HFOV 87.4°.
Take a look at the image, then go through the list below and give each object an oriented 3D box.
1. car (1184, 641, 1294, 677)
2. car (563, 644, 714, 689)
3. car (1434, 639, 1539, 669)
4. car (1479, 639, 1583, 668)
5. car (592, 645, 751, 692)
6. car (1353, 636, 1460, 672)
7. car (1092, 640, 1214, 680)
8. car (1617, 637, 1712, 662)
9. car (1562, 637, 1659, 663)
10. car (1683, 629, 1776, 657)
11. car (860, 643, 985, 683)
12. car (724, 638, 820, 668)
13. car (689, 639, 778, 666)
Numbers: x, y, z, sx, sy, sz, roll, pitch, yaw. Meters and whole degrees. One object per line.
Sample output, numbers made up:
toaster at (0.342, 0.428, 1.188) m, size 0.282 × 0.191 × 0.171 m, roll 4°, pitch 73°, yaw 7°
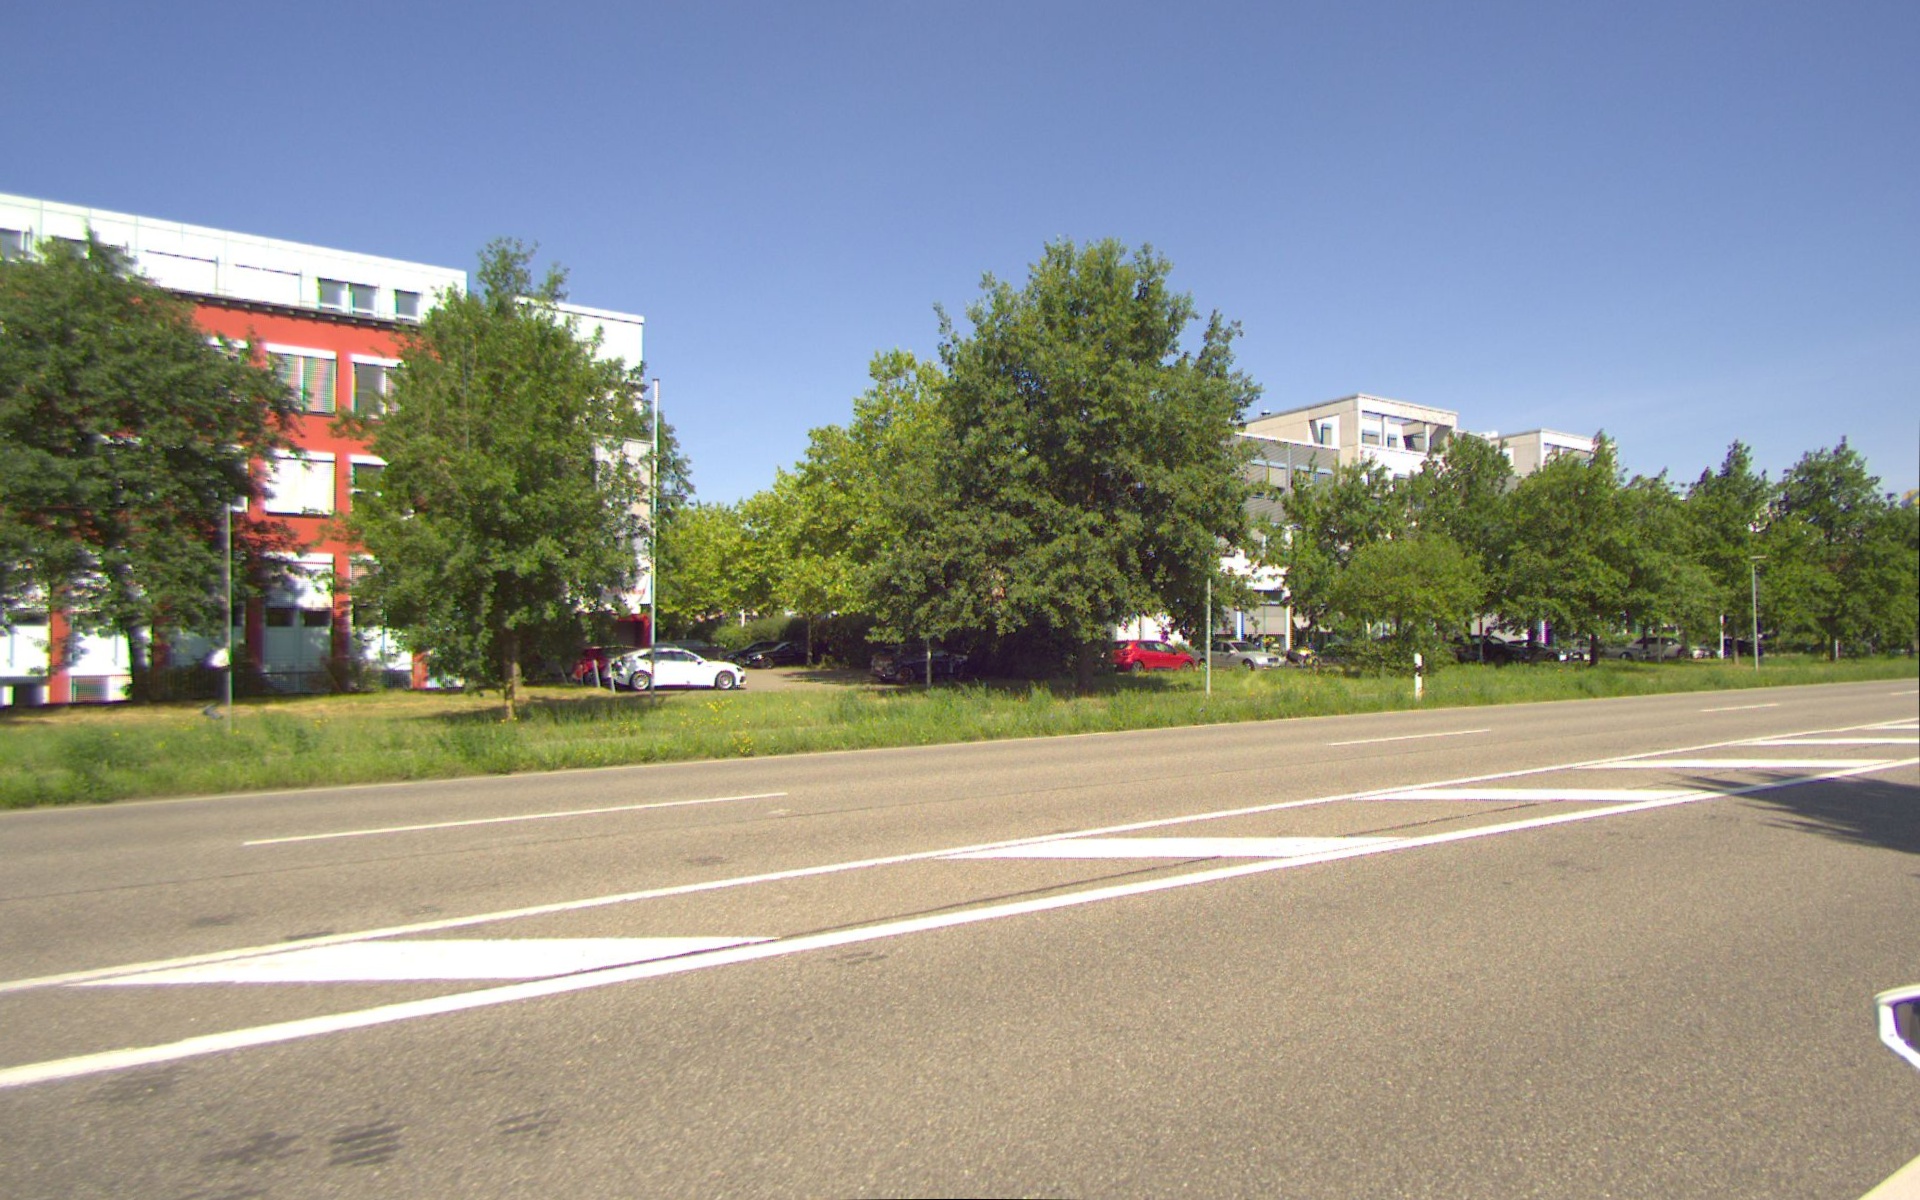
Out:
car at (12.077, 2.532, 43.809) m, size 1.976 × 1.456 × 4.574 m, roll 1°, pitch -2°, yaw -29°
car at (-11.510, 2.353, 36.044) m, size 4.893 × 1.456 × 1.986 m, roll 1°, pitch -2°, yaw -29°
car at (27.673, 2.814, 52.924) m, size 1.976 × 1.456 × 4.574 m, roll 1°, pitch -2°, yaw -29°
car at (30.916, 2.885, 54.510) m, size 1.976 × 1.456 × 4.574 m, roll 1°, pitch -2°, yaw -29°
car at (-9.748, 2.278, 34.071) m, size 4.893 × 1.456 × 1.986 m, roll 1°, pitch -2°, yaw -29°
car at (22.170, 2.660, 50.052) m, size 1.976 × 1.672 × 4.574 m, roll 1°, pitch -2°, yaw -29°
car at (7.694, 2.356, 39.897) m, size 4.552 × 1.456 × 1.986 m, roll 1°, pitch -2°, yaw -28°
car at (44.904, 3.123, 64.115) m, size 1.976 × 1.456 × 4.574 m, roll 1°, pitch -2°, yaw -29°
car at (39.397, 3.011, 60.927) m, size 1.976 × 1.456 × 4.574 m, roll 1°, pitch -2°, yaw -29°
car at (51.006, 2.839, 66.688) m, size 1.974 × 1.781 × 4.518 m, roll 1°, pitch -2°, yaw -26°
car at (-1.443, 2.424, 39.391) m, size 4.555 × 1.456 × 1.984 m, roll 1°, pitch -2°, yaw -30°
car at (-9.799, 2.738, 52.468) m, size 4.555 × 1.456 × 1.984 m, roll 1°, pitch -2°, yaw -30°
car at (-12.887, 2.953, 57.228) m, size 4.555 × 1.456 × 1.984 m, roll 1°, pitch -2°, yaw -30°
